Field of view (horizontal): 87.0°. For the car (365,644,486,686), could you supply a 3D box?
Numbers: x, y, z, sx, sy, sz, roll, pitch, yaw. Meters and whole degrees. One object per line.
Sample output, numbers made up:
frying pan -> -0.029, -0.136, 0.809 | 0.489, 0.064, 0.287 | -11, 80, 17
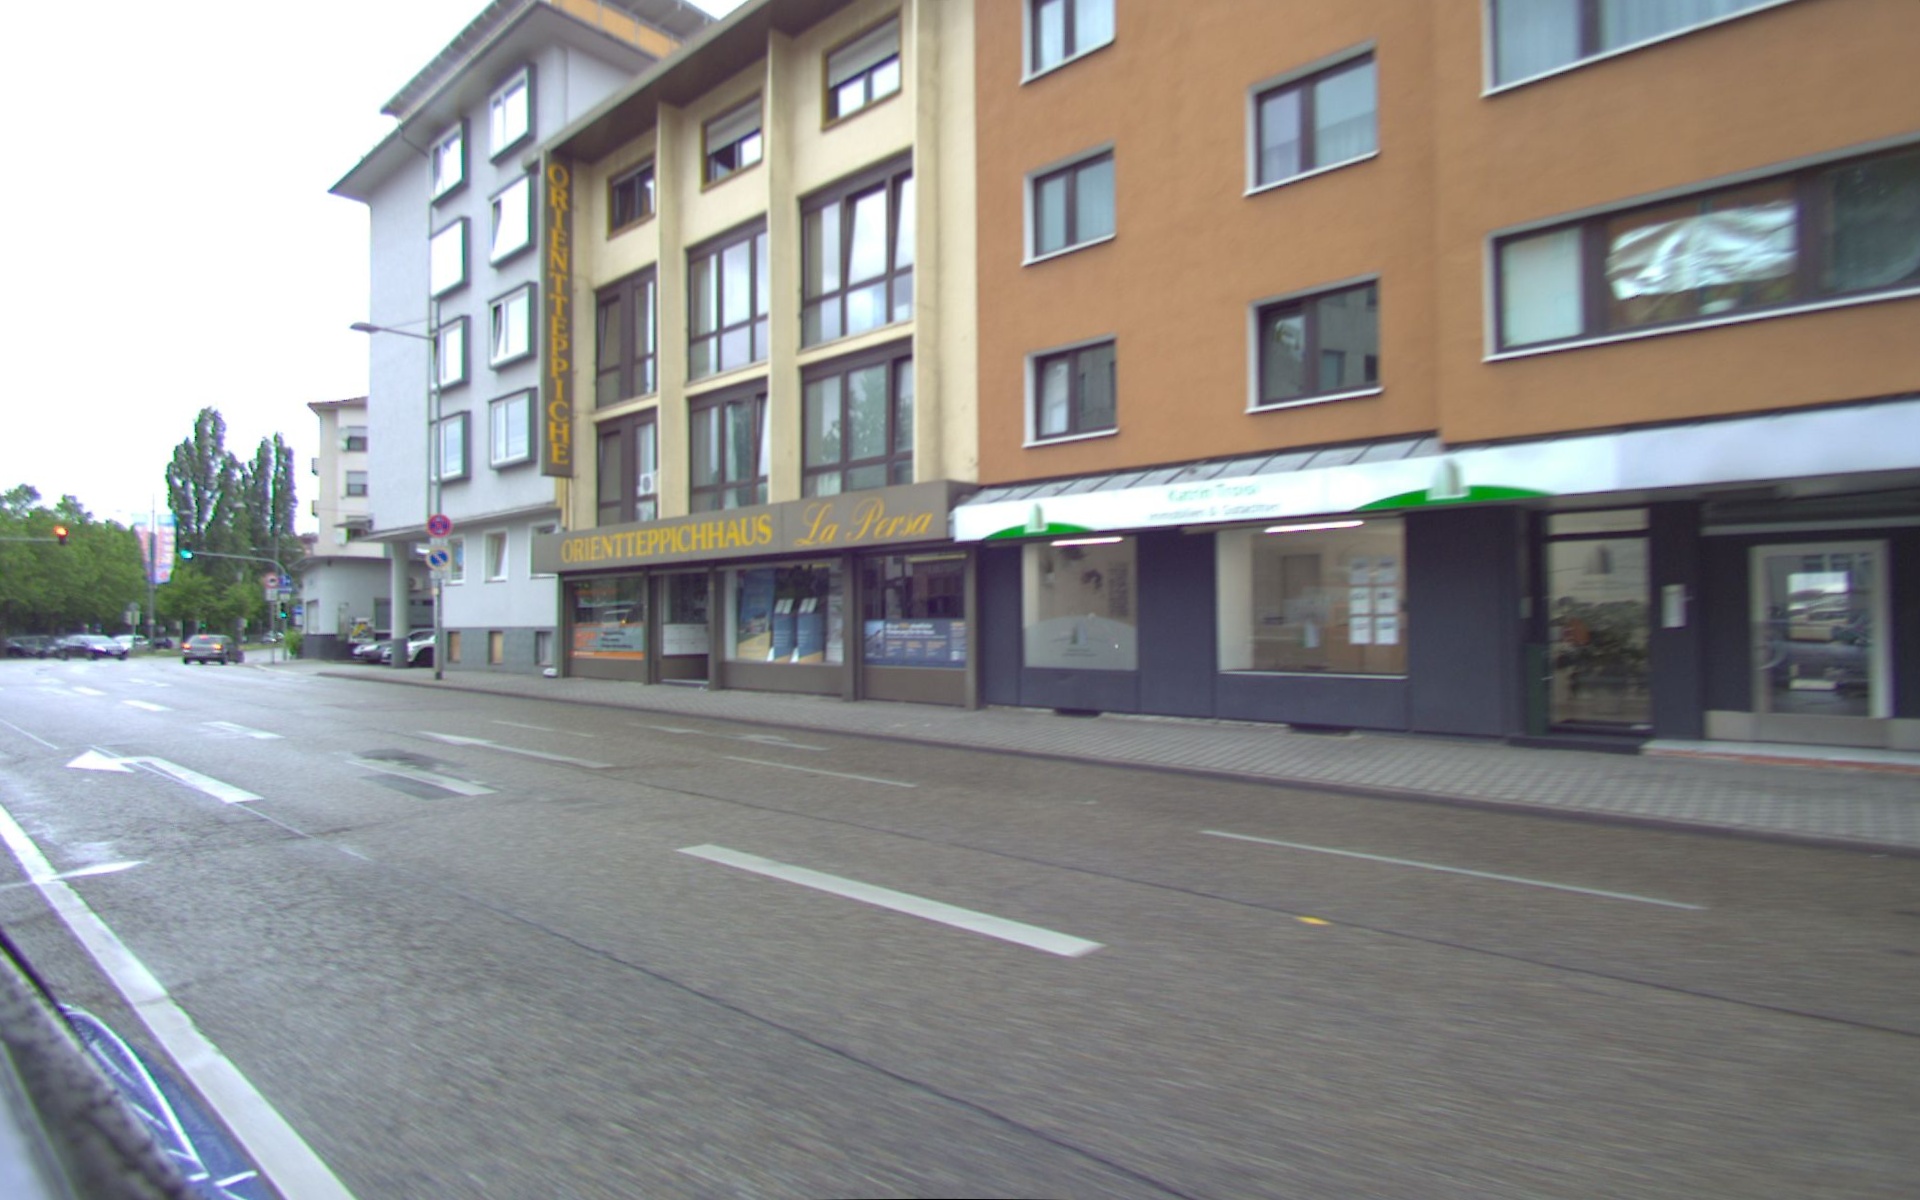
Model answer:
car -> -20.436, 2.499, 38.787 | 1.638, 1.431, 3.716 | -2, -6, 42

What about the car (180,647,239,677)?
car -> -36.404, 3.054, 49.183 | 1.704, 1.377, 4.123 | 2, -5, -28

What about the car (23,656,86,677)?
car -> -68.956, 5.079, 77.146 | 1.865, 1.500, 4.374 | 3, -4, -18

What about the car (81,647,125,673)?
car -> -49.626, 3.439, 58.562 | 1.777, 1.445, 4.401 | 1, -3, -42

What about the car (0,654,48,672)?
car -> -83.859, 5.635, 89.304 | 4.672, 1.416, 1.868 | -2, -2, -18

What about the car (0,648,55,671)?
car -> -86.531, 5.485, 92.921 | 4.768, 1.957, 1.956 | -2, -2, -18

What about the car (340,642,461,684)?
car -> -22.144, 2.500, 40.145 | 1.797, 1.431, 3.771 | 0, -5, 42

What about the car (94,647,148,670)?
car -> -61.612, 4.326, 74.420 | 1.865, 1.588, 4.375 | 3, -5, -24

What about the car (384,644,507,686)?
car -> -18.521, 2.368, 36.537 | 1.494, 1.348, 3.586 | -2, -6, 39

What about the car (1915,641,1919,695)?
car -> 27.213, 1.770, 25.738 | 1.803, 1.456, 4.004 | 1, -3, -5
